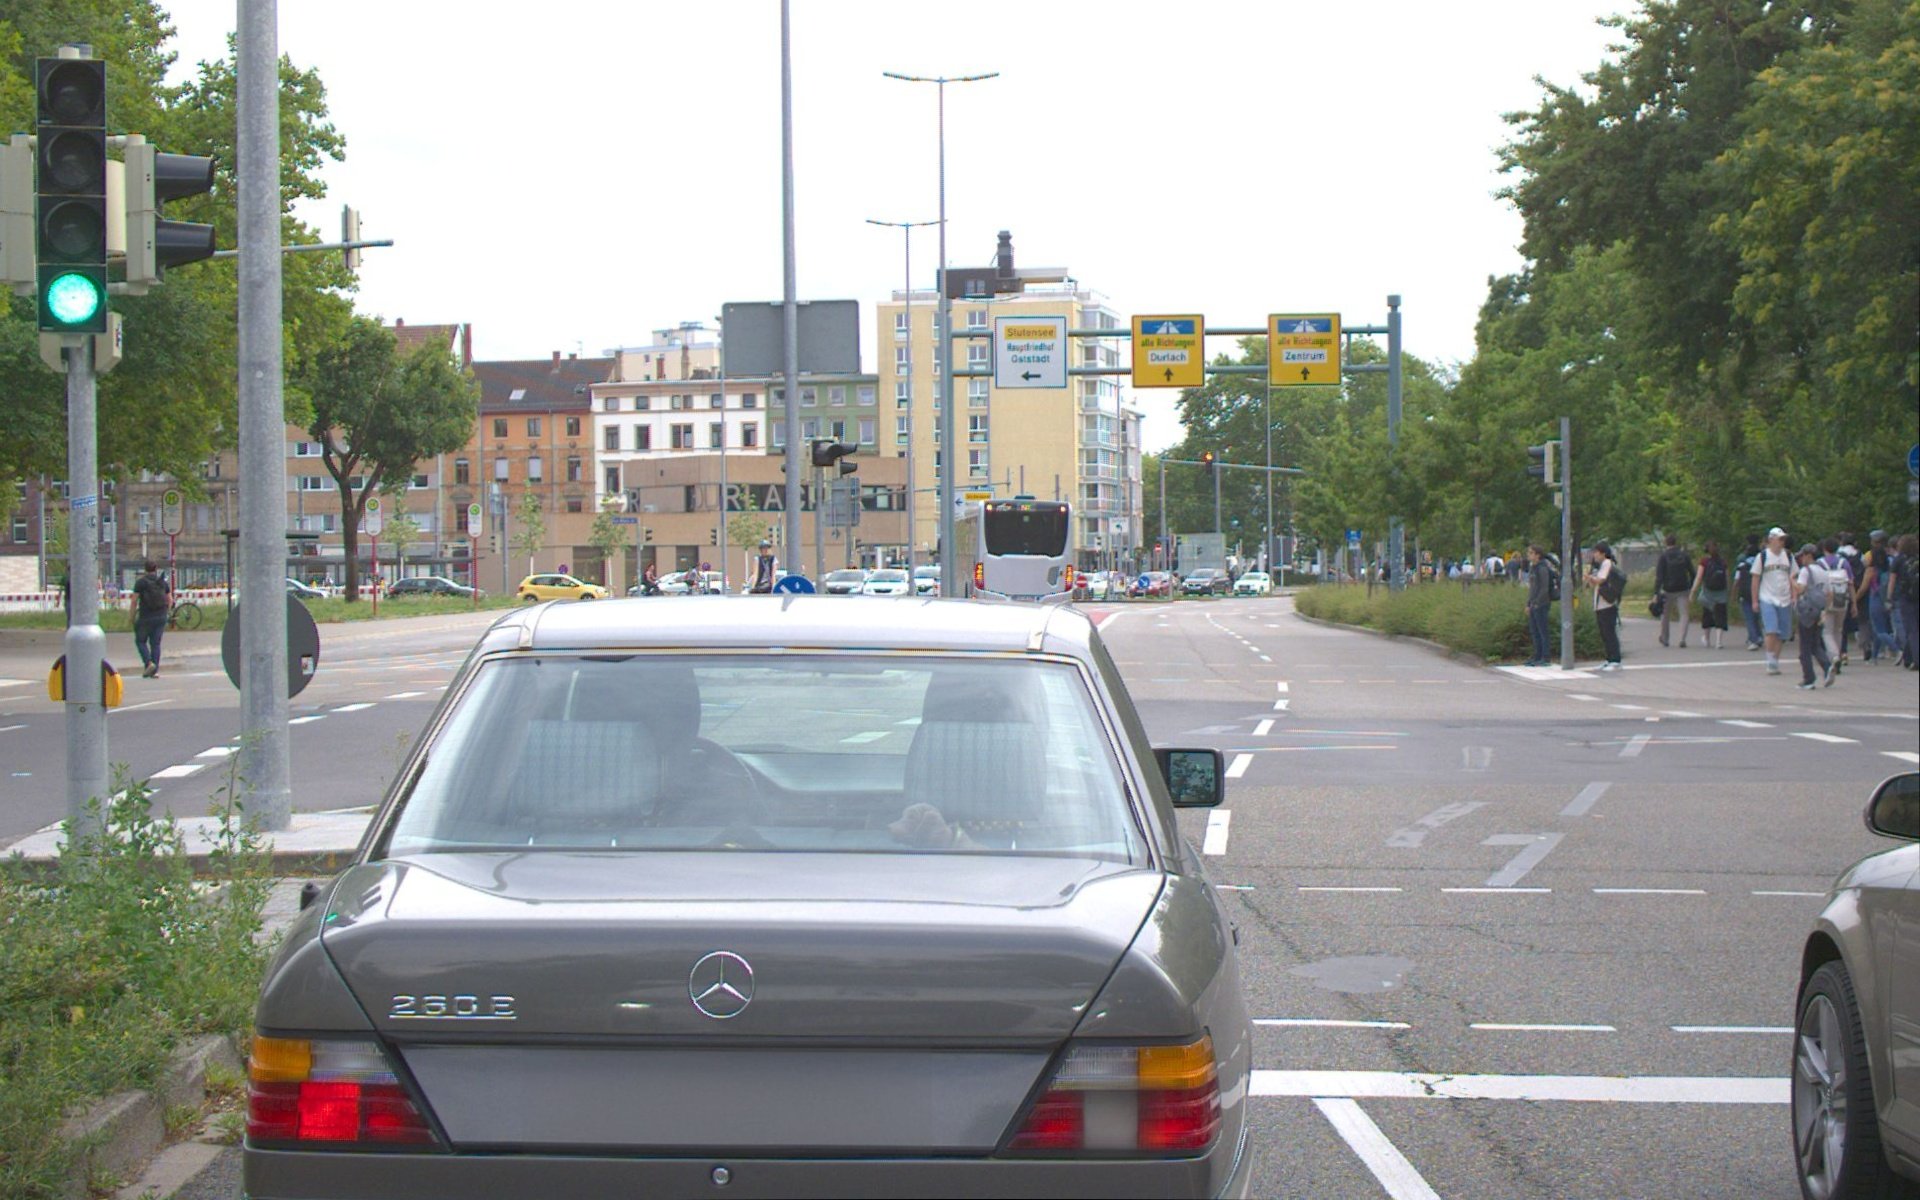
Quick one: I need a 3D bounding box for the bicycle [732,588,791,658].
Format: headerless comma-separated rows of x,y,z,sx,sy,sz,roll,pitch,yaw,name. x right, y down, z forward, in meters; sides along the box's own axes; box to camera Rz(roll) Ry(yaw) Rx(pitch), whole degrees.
-3.074,0.352,53.402,0.573,1.052,1.926,0,1,7,bicycle

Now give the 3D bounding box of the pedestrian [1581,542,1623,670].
8.709,0.076,46.653,0.454,1.729,0.637,0,0,1,pedestrian

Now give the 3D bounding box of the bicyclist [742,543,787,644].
-3.042,-0.103,53.466,0.572,1.568,0.699,0,0,7,bicyclist

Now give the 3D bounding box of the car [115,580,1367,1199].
-0.329,0.717,6.946,1.761,1.484,4.171,-1,1,-1,car

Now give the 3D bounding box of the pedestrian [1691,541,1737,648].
11.697,-0.089,53.358,0.555,1.649,0.753,-1,0,3,pedestrian

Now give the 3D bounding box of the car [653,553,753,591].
-11.584,-1.253,154.949,4.153,1.644,1.647,-1,0,-24,car

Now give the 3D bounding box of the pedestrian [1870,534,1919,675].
11.846,0.049,43.108,0.656,1.739,0.780,-1,0,1,pedestrian

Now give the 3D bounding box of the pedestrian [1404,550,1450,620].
12.387,-0.398,91.162,0.935,1.824,0.885,-1,0,30,pedestrian

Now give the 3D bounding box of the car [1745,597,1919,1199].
2.794,0.730,6.361,1.724,1.452,3.736,-1,1,-2,car

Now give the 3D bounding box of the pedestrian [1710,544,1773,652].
11.795,-0.031,51.896,0.775,1.597,0.812,-1,0,3,pedestrian

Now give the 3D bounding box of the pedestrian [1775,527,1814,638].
13.417,-0.283,55.295,0.484,1.757,0.664,-1,0,3,pedestrian

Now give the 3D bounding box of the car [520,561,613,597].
-16.959,-0.901,148.208,3.856,1.512,1.660,1,0,-2,car

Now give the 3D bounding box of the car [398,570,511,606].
-21.784,-0.509,148.250,4.669,1.470,1.660,1,0,-2,car

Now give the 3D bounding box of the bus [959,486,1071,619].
1.486,-1.265,91.833,2.831,3.379,8.182,0,1,1,bus

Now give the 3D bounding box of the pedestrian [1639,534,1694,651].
11.168,-0.125,54.375,0.693,1.815,0.954,-1,0,3,pedestrian

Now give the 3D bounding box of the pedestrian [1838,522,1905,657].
11.842,-0.137,44.688,0.656,1.739,0.780,-1,0,1,pedestrian

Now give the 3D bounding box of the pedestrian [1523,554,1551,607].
15.944,-0.538,95.034,0.657,1.465,0.562,0,1,-1,pedestrian

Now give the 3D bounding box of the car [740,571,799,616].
-6.513,-0.228,117.895,1.761,1.484,4.546,-1,1,0,car

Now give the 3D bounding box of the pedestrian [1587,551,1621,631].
13.629,-0.194,72.736,0.587,1.677,0.748,-1,0,3,pedestrian

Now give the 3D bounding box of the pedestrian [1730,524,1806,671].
10.291,-0.036,43.809,0.644,1.846,0.829,1,0,-11,pedestrian

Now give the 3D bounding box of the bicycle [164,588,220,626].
-19.187,0.162,85.922,0.470,0.915,2.338,-1,0,11,bicycle

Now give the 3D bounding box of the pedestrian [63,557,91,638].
-18.233,-0.041,70.998,0.560,1.662,0.627,0,-1,-14,pedestrian

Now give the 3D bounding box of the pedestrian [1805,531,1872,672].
11.028,0.016,43.172,0.624,1.739,0.780,-1,0,1,pedestrian

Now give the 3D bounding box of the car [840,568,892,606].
-3.695,-0.535,136.032,1.802,1.484,4.288,-1,1,2,car

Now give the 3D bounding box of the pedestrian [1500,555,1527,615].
15.888,-0.440,98.698,0.647,1.707,0.561,-1,0,18,pedestrian

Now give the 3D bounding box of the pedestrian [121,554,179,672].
-12.272,0.198,52.092,0.758,1.776,0.722,0,-1,-21,pedestrian

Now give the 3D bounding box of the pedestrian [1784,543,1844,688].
9.992,0.183,40.234,0.545,1.681,0.637,0,0,1,pedestrian

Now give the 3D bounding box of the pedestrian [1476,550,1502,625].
14.184,-0.338,92.129,0.614,2.007,0.597,0,0,2,pedestrian

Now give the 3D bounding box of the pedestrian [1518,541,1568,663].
8.333,0.020,49.184,0.601,1.729,0.654,0,0,1,pedestrian
